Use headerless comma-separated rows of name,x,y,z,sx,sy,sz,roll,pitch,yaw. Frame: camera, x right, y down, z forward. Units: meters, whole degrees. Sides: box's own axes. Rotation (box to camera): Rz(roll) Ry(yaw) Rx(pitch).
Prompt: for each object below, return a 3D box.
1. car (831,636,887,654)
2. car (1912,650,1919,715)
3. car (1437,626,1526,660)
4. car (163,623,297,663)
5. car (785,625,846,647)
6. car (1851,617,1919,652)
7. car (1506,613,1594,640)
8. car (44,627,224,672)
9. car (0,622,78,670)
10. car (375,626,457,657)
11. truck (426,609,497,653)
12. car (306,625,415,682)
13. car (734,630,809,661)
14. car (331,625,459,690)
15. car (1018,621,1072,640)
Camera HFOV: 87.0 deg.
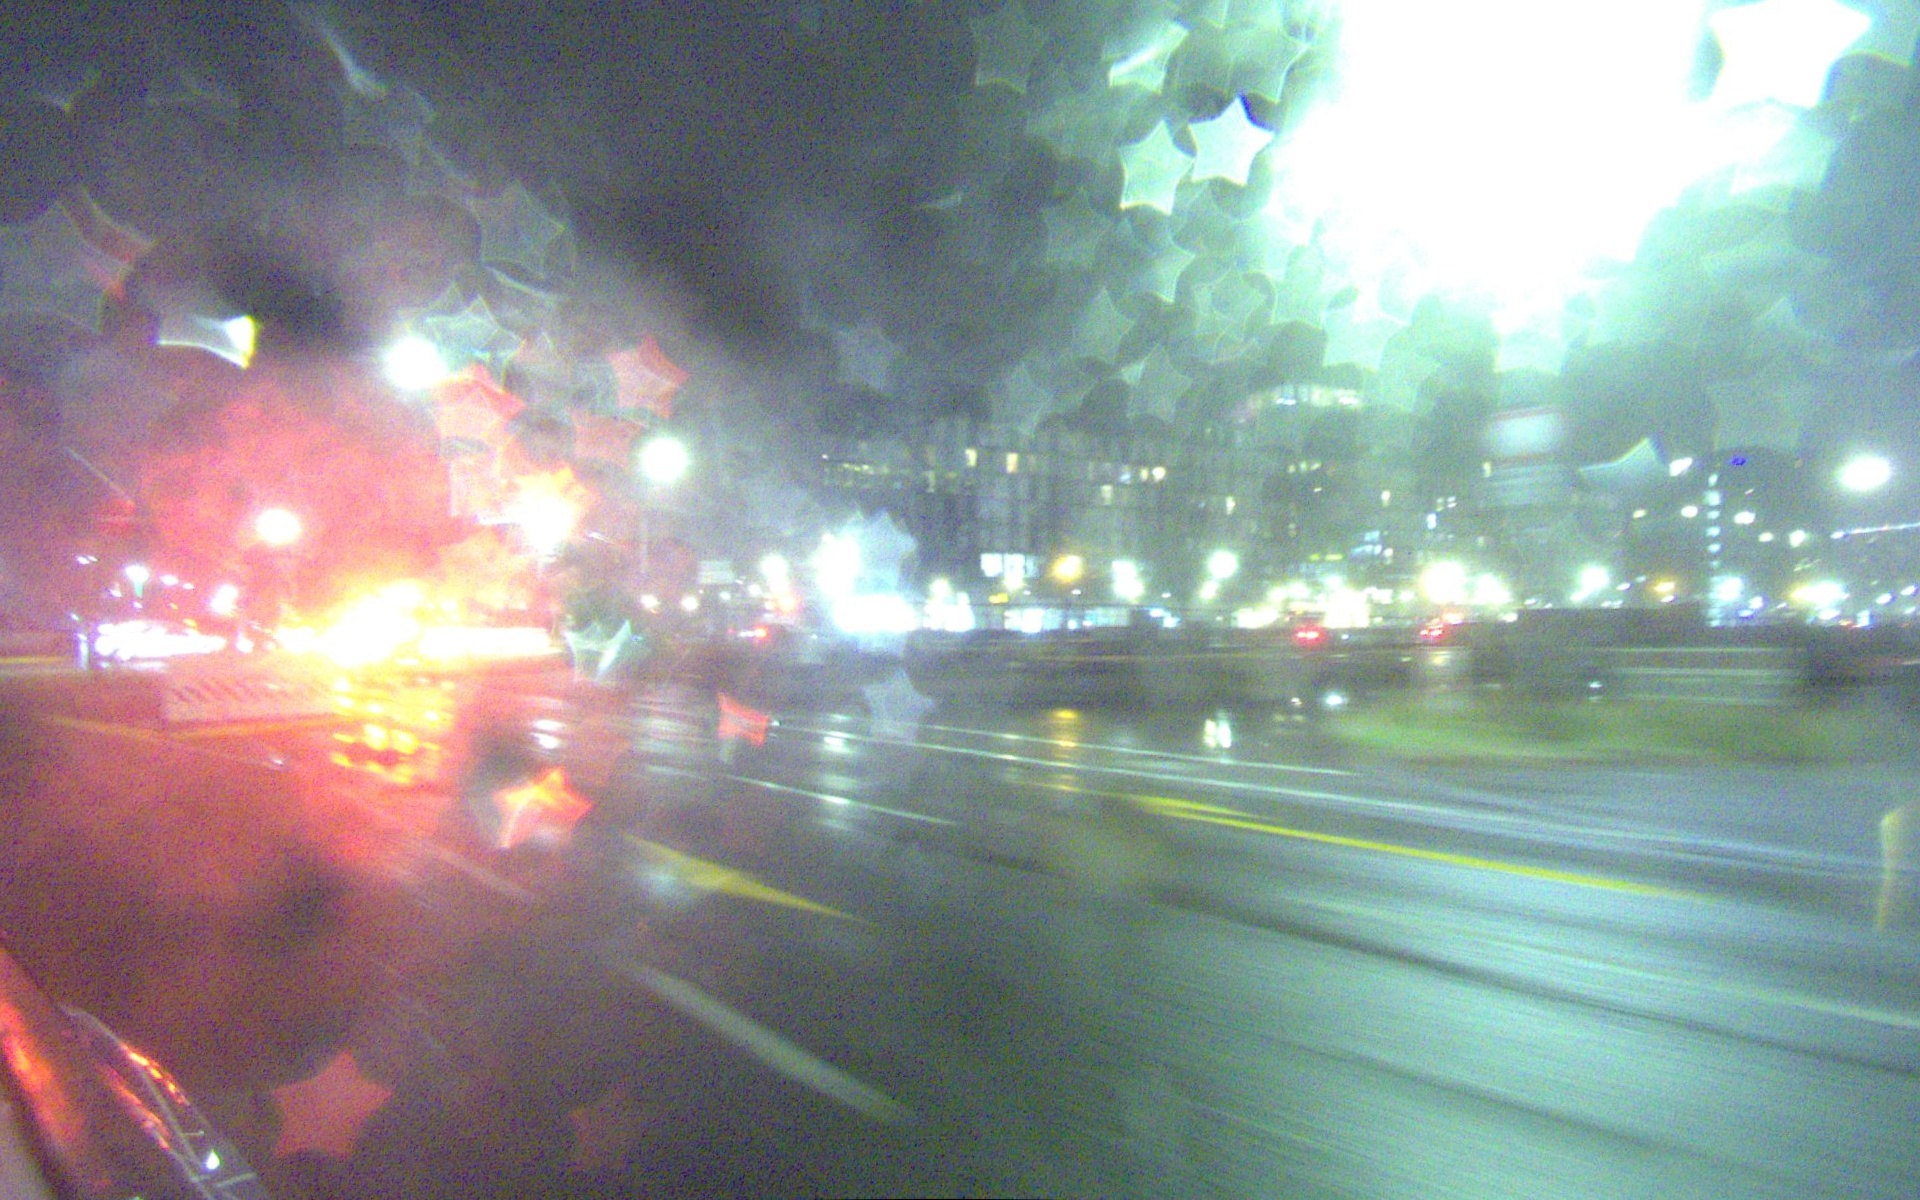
car,-8.665,3.854,86.494,4.351,1.545,2.006,2,-3,-24
car,21.393,1.653,19.704,1.510,1.346,3.833,1,-2,-24
car,31.749,2.603,61.767,2.293,1.749,4.327,4,-1,-22
car,-30.393,1.784,42.300,1.984,1.545,4.159,0,-2,19
car,-11.456,2.868,80.001,4.354,1.634,2.006,2,-3,-24
car,47.554,1.746,50.338,1.966,1.634,4.444,1,0,-33
car,37.401,1.681,64.238,1.966,1.634,4.409,0,-2,-29
car,-28.628,1.686,35.252,1.641,1.477,4.593,-1,-2,29
car,-33.715,1.590,35.076,1.996,1.634,4.377,-1,-3,36
car,-28.231,2.151,52.676,1.973,1.545,4.183,1,-2,1
truck,-29.355,1.893,59.903,2.283,2.415,7.834,1,-3,-15
car,-18.770,1.659,31.938,2.034,1.634,4.648,1,-3,-19
car,-10.992,2.638,59.151,1.999,1.789,3.945,-2,-3,41
car,-14.819,1.480,26.429,1.969,1.466,4.309,7,-6,-41
car,7.600,2.740,90.589,4.354,1.634,2.006,2,-3,-24
